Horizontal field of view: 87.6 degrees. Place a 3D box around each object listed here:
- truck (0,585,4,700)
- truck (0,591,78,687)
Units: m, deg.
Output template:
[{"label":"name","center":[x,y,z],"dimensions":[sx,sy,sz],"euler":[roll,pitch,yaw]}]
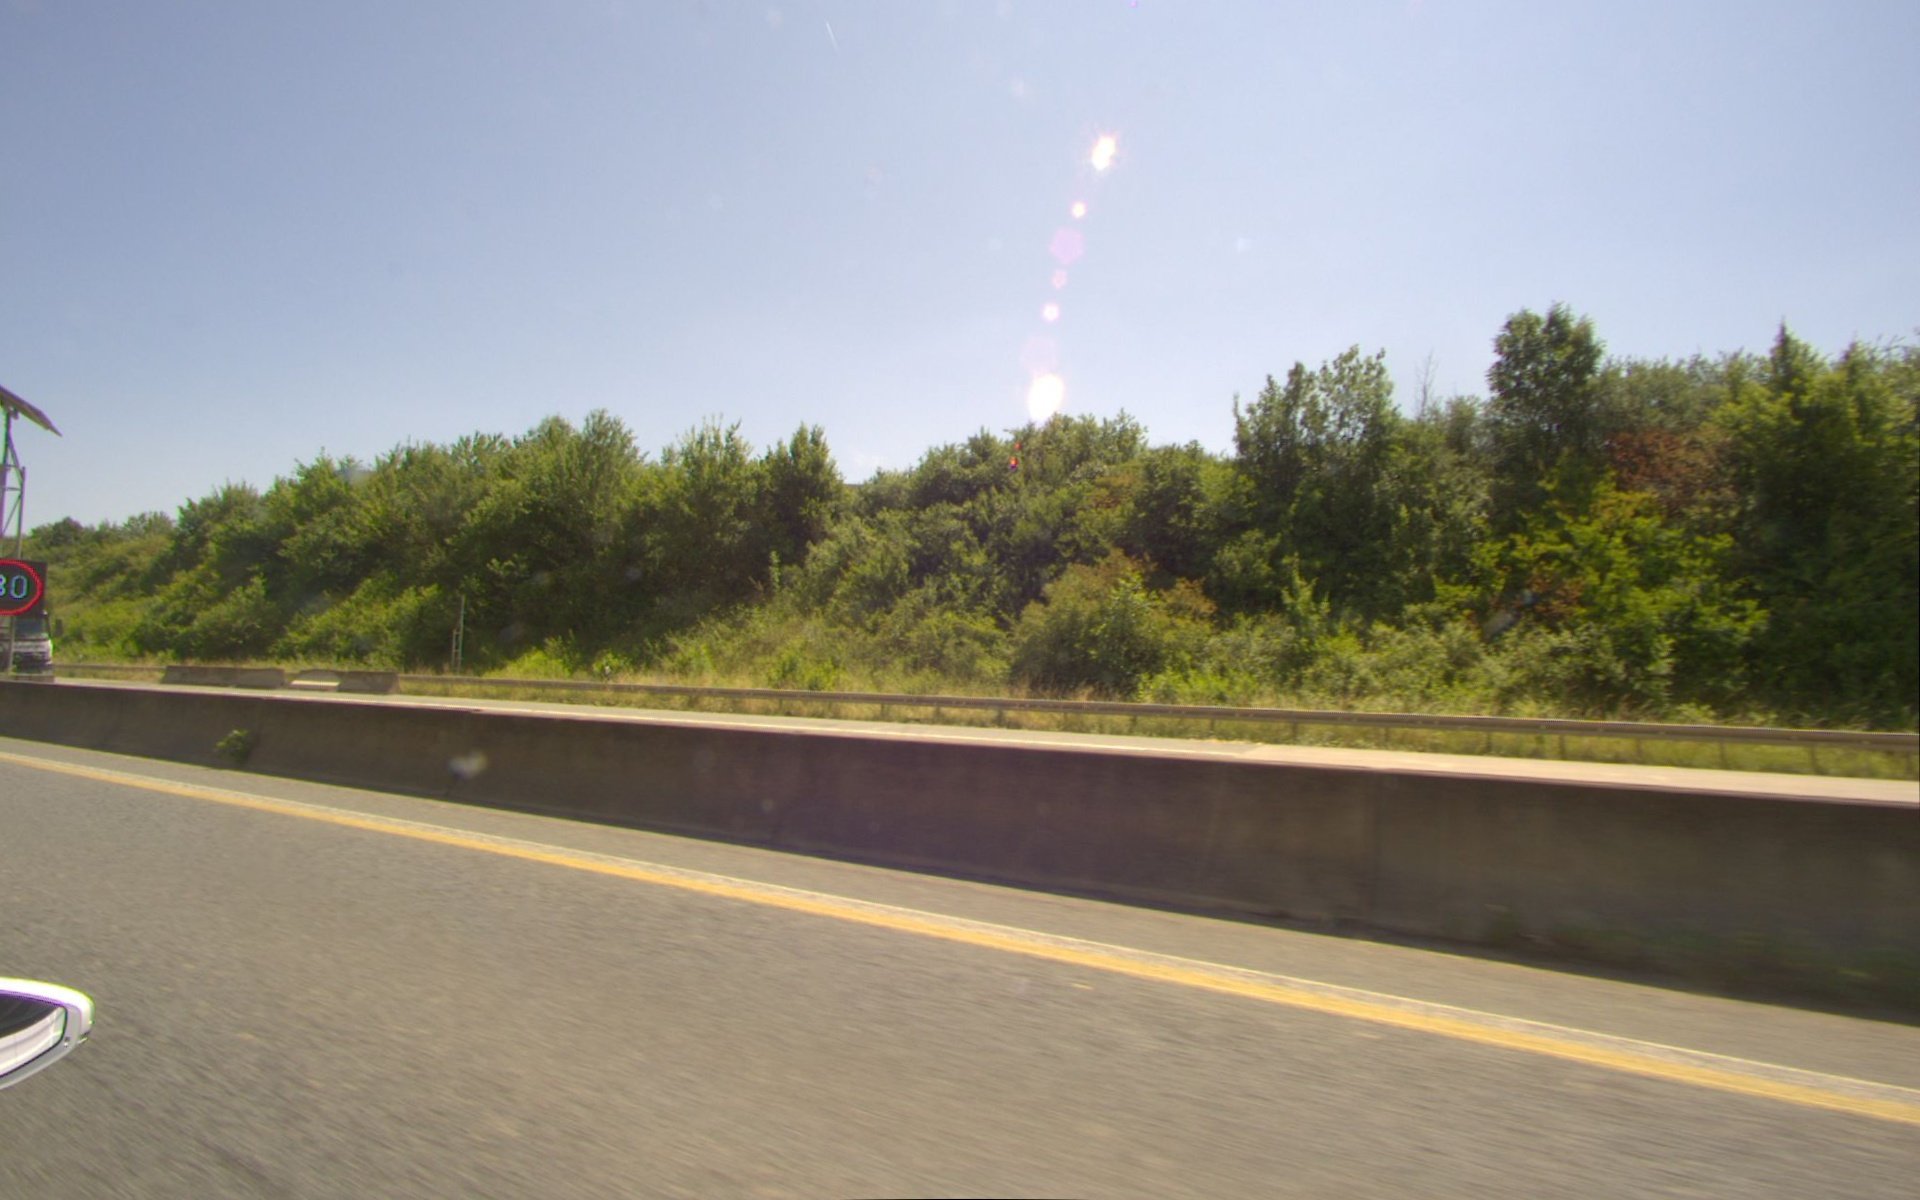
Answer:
[{"label":"truck","center":[-34.064,1.339,32.189],"dimensions":[8.964,3.555,2.530],"euler":[-1,-2,31]},{"label":"truck","center":[-38.329,1.528,39.672],"dimensions":[8.258,3.555,2.684],"euler":[-1,-2,31]}]
